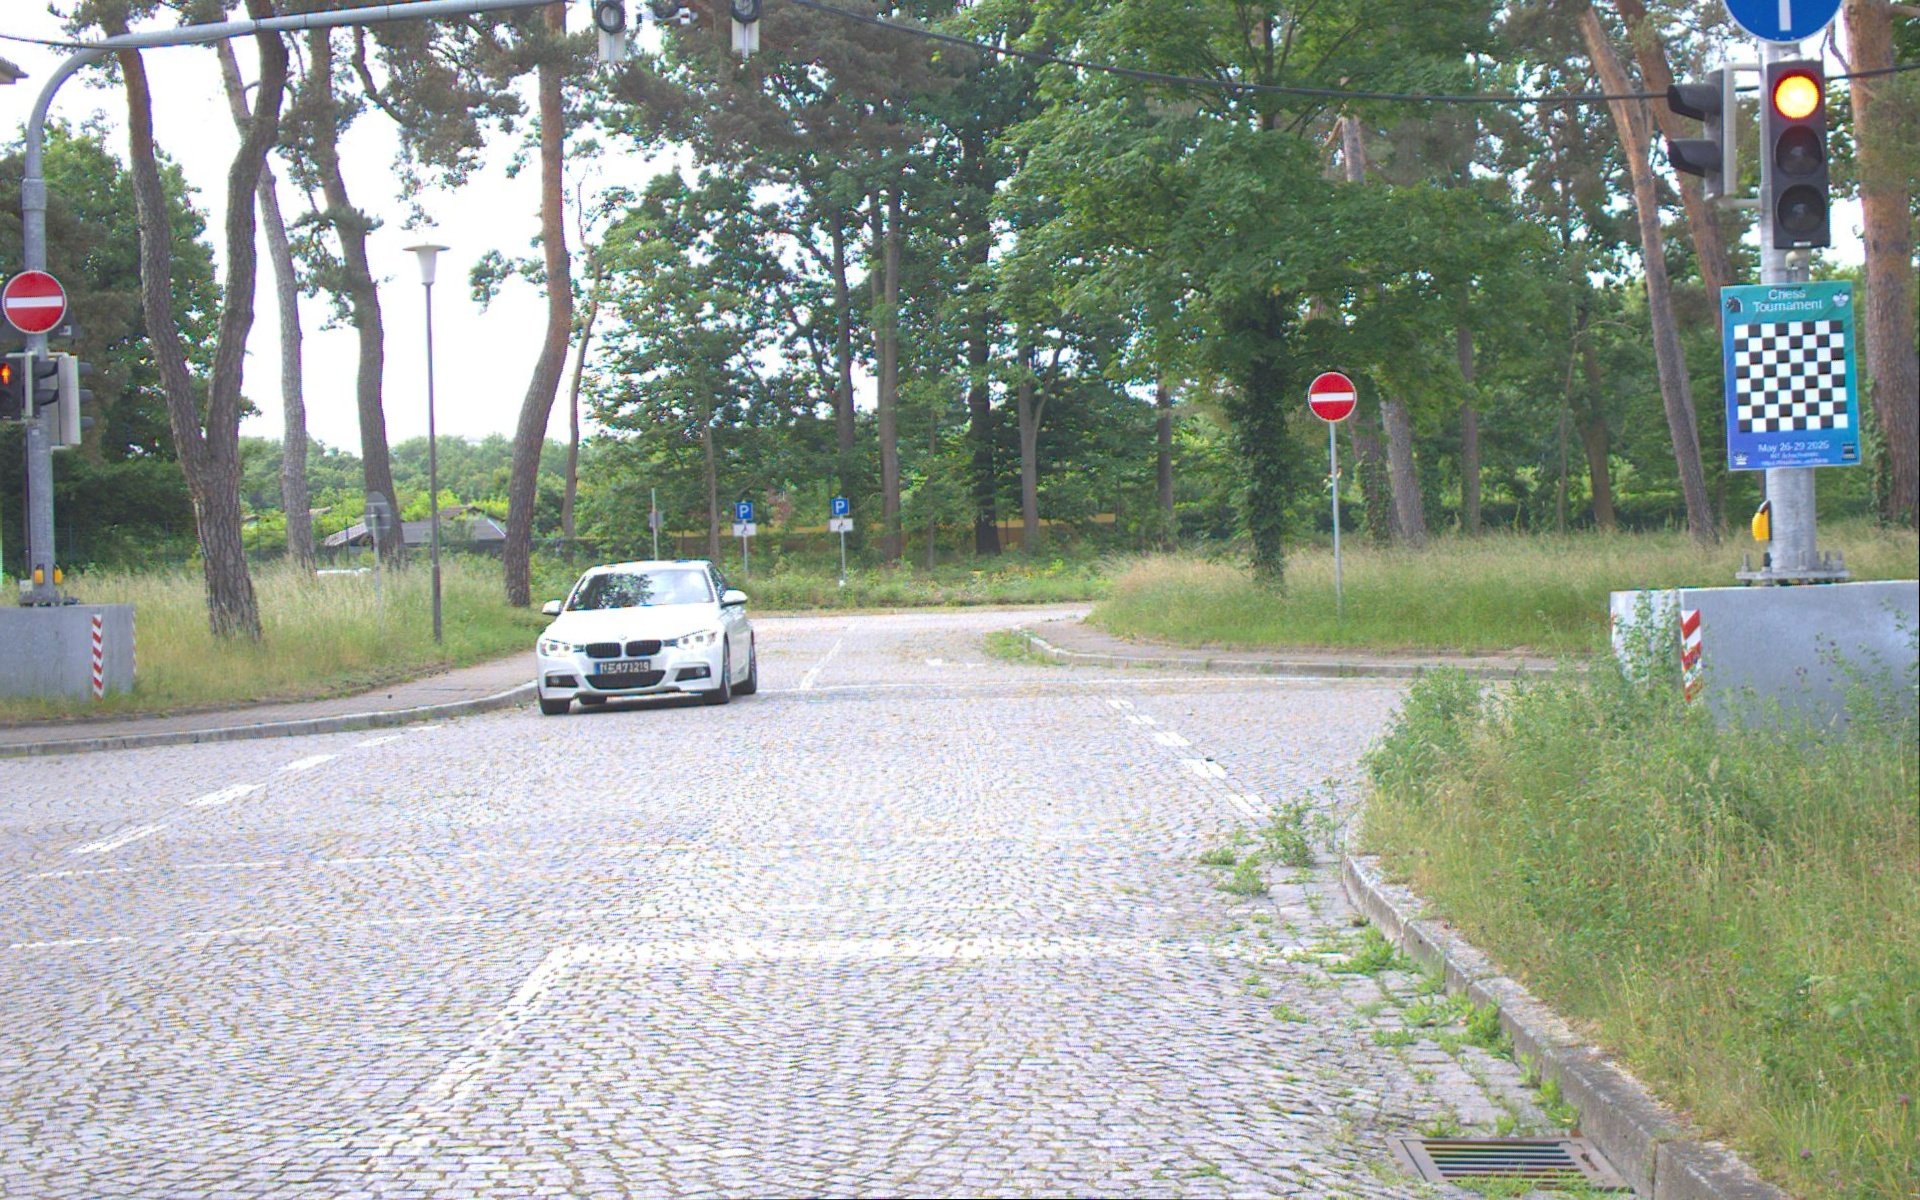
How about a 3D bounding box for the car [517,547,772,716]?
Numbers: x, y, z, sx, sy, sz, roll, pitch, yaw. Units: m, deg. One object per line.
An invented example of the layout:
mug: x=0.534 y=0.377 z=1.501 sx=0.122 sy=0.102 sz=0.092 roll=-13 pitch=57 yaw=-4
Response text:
car: x=-3.029 y=0.293 z=33.800 sx=1.773 sy=1.433 sz=4.217 roll=-4 pitch=0 yaw=4
